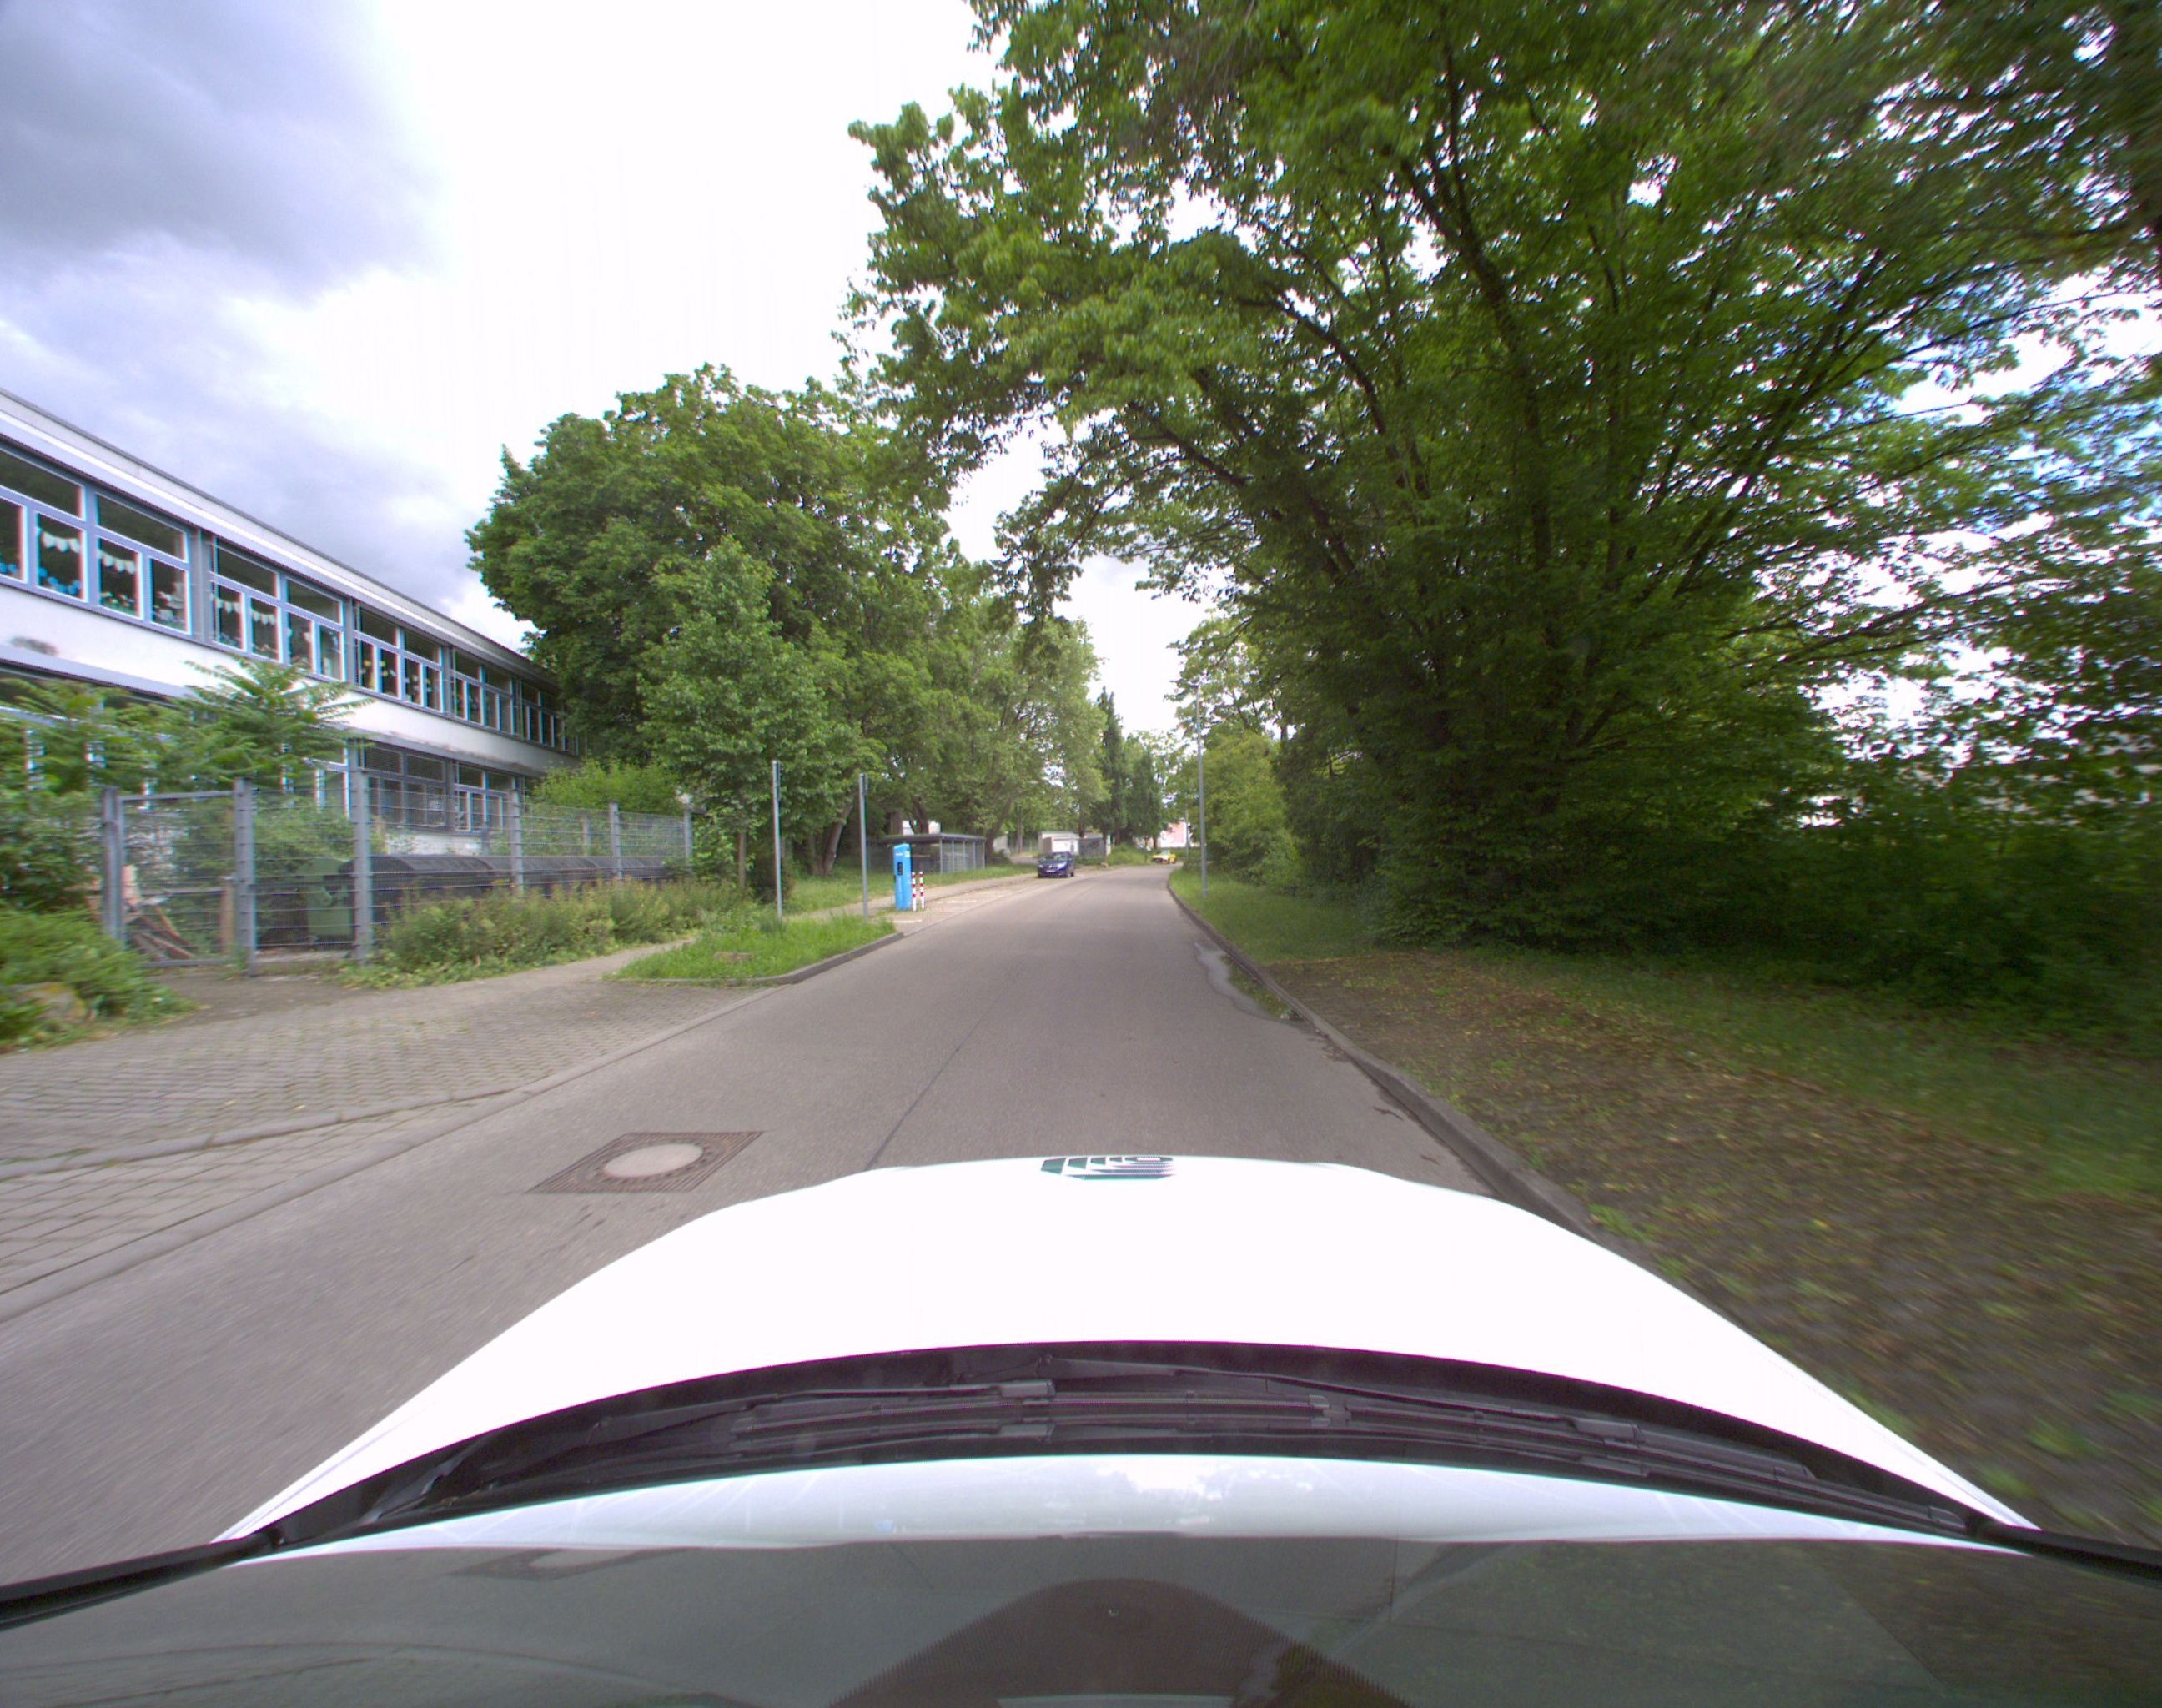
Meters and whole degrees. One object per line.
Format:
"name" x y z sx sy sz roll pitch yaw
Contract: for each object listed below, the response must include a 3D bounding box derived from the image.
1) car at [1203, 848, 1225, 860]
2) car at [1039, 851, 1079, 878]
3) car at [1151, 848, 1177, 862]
"car" 16.528 0.010 100.970 1.519 1.459 3.743 -1 0 28
"car" -1.231 0.587 47.615 1.670 1.511 4.440 -1 0 7
"car" 8.615 0.139 84.508 1.686 1.403 4.294 0 0 20
